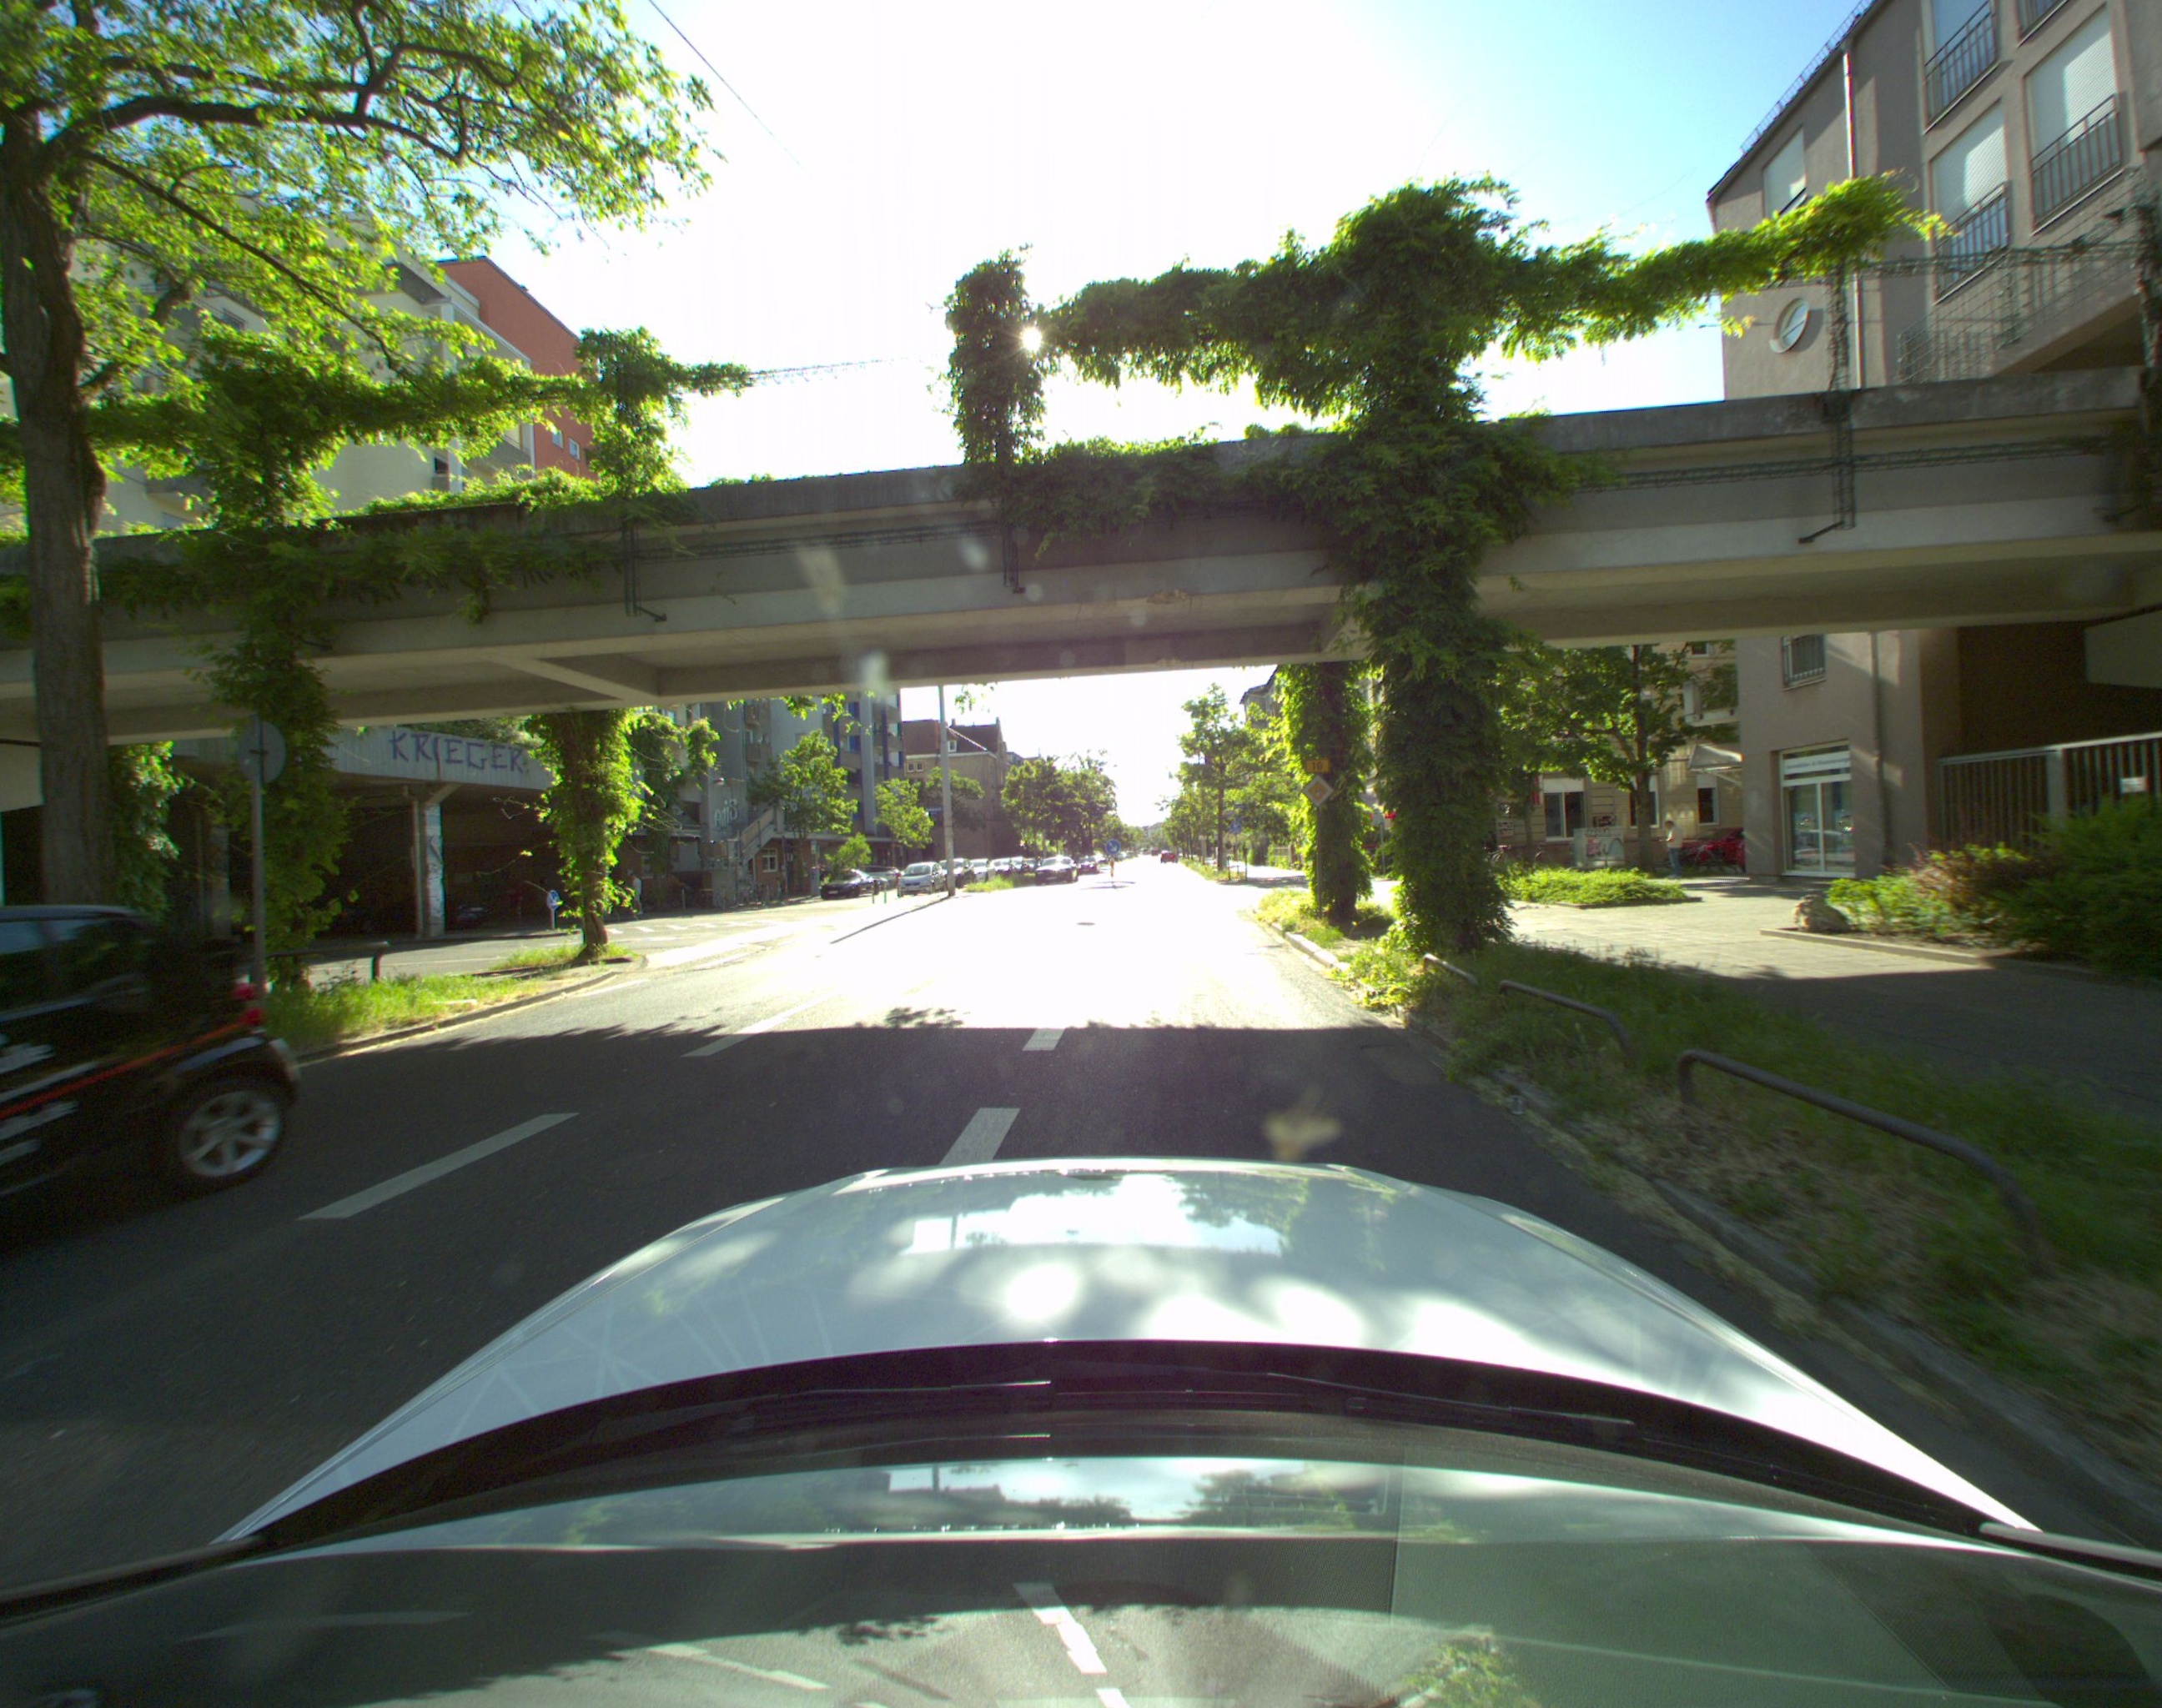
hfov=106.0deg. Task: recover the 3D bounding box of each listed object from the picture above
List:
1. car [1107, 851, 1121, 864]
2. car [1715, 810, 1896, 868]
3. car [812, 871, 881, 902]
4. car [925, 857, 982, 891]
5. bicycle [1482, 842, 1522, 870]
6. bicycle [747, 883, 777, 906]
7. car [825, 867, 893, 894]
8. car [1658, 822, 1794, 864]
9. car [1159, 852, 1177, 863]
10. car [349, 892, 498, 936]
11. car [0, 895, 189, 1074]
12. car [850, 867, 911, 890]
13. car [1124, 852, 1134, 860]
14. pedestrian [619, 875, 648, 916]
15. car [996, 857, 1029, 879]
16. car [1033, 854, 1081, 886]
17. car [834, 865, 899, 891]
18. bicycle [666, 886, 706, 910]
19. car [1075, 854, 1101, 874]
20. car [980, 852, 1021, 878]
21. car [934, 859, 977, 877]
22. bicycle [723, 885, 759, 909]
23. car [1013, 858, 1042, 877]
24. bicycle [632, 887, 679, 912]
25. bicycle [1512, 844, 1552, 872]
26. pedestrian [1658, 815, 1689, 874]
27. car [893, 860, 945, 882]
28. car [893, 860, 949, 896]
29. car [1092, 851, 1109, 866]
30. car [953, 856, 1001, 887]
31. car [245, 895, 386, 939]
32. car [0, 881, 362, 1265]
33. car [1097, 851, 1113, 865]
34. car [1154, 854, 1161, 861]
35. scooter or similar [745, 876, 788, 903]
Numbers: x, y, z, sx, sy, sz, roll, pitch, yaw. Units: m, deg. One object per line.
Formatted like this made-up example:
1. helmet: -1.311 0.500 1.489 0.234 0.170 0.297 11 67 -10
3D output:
1. car: 5.882 0.593 145.207 2.050 2.013 4.639 -3 0 7
2. car: 21.417 -0.426 24.170 3.979 1.462 1.690 -3 0 -4
3. car: -12.757 1.729 44.659 1.880 1.398 4.539 -4 0 8
4. car: -6.895 1.033 44.565 1.858 1.627 4.513 -4 0 6
5. bicycle: 15.775 0.061 30.506 1.307 0.974 0.392 -3 0 -6
6. bicycle: -15.881 1.995 40.583 0.411 1.001 1.809 0 1 15
7. car: -14.759 1.752 54.253 3.972 1.551 1.771 -3 0 2
8. car: 24.681 -0.441 31.226 3.981 1.440 1.776 -1 3 -6
9. car: 10.817 0.428 101.196 1.786 1.223 4.012 -3 0 10
10. car: -25.790 2.352 32.030 4.567 1.433 1.861 -3 -2 7
11. car: -10.664 1.290 6.911 1.731 1.538 3.785 -5 0 6
12. car: -14.681 1.761 59.802 3.972 1.424 1.688 -3 0 2
13. car: 11.343 0.491 193.774 1.982 1.695 4.009 -3 0 8
14. pedestrian: -19.314 1.789 35.141 0.752 1.699 0.797 0 0 4
15. car: -5.289 1.071 63.130 1.743 1.553 4.006 -4 0 5
16. car: -1.234 0.813 43.666 1.856 1.458 4.601 -4 0 6
17. car: -15.034 1.663 57.123 3.972 1.607 1.842 -3 0 2
18. bicycle: -18.328 2.033 37.801 1.616 1.001 0.413 -1 1 -18
19. car: 0.564 0.776 63.109 1.643 1.428 3.512 -3 0 5
20. car: -5.621 0.761 57.062 1.853 1.587 4.009 -4 0 8
21. car: -12.754 1.381 82.736 3.972 1.629 1.688 -3 0 2
22. bicycle: -16.123 2.030 38.657 0.410 1.031 1.812 0 1 22
23. car: -4.486 1.117 68.536 1.746 1.398 4.006 -3 0 5
24. bicycle: -19.292 2.057 36.953 1.792 1.001 0.484 -3 1 -3
25. bicycle: 17.174 0.154 31.017 1.307 0.974 0.392 -3 0 -6
26. pedestrian: 16.130 -0.260 22.181 0.525 1.576 0.638 -3 0 30
27. car: -13.922 1.466 70.184 3.972 1.629 1.688 -3 0 2
28. car: -7.646 1.116 39.131 1.712 1.518 3.535 -4 0 3
29. car: 2.844 0.609 118.279 1.982 2.013 4.215 -3 0 8
30. car: -6.435 1.074 50.840 1.879 1.662 4.537 -5 0 5
31. car: -30.539 2.496 32.563 4.031 1.410 1.769 -3 0 4
32. car: -5.224 0.978 3.534 1.459 1.527 2.822 -3 0 6
33. car: 3.697 0.596 124.157 1.982 2.013 4.215 -3 0 8
34. car: 21.741 0.965 231.471 1.749 1.783 4.008 -3 0 7
35. scooter or similar: -16.711 1.887 43.295 1.960 1.277 0.631 -3 0 0
